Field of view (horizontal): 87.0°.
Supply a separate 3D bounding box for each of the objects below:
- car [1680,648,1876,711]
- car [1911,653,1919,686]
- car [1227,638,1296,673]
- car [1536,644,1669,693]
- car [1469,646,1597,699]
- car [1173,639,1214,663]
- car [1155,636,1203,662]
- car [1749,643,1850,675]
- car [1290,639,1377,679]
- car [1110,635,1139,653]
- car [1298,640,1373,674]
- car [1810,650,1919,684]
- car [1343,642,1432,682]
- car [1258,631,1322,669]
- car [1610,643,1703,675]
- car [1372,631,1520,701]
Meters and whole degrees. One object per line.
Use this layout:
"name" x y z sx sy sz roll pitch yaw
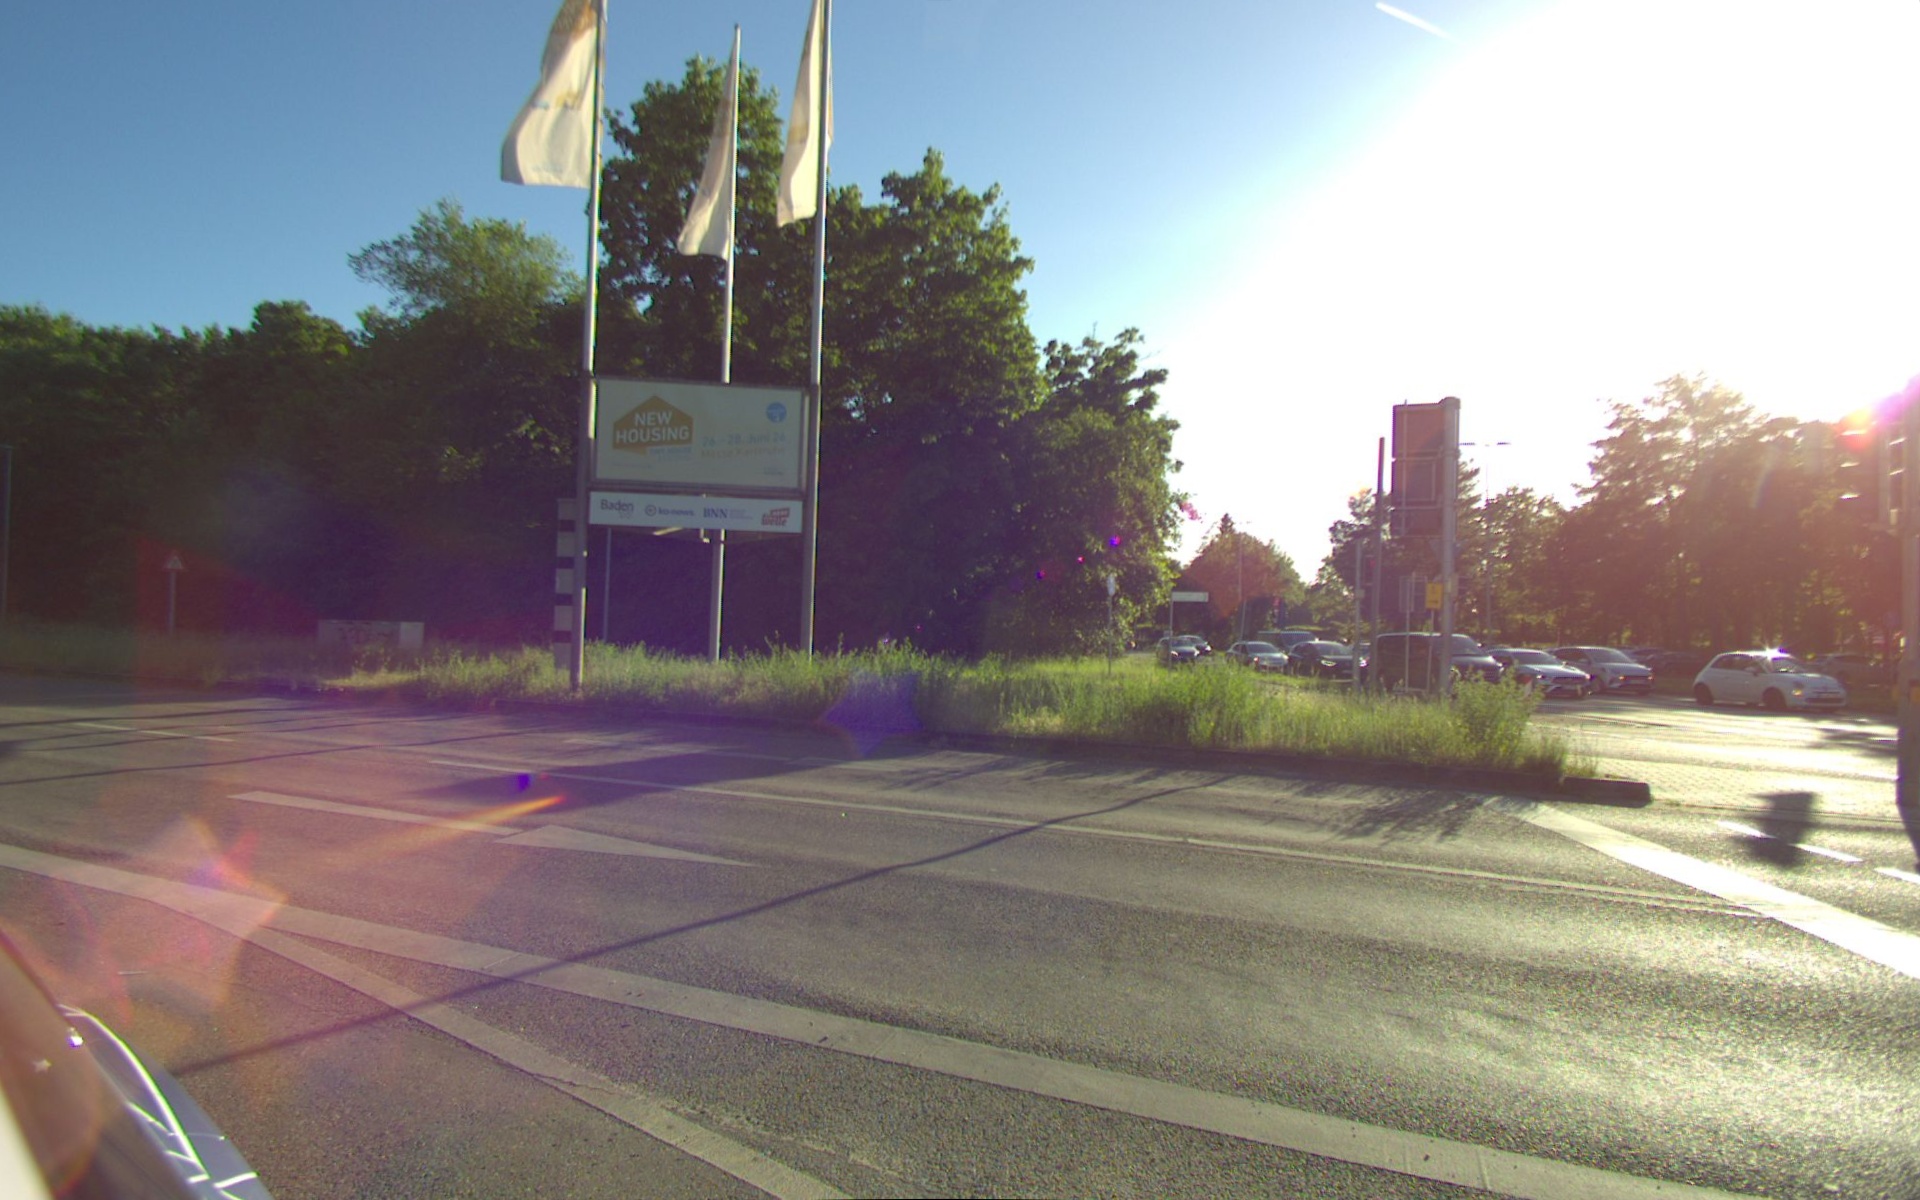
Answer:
"car" 21.100 2.015 26.324 1.900 1.400 3.801 2 -2 -2
"car" 47.816 3.370 48.116 3.454 1.612 1.813 1 -2 1
"car" 13.400 2.435 45.183 1.827 1.400 3.801 2 -2 -2
"car" 20.959 2.203 33.198 1.827 1.400 3.801 2 -2 -2
"car" 17.449 2.177 31.008 1.624 1.400 3.801 2 -2 -2
"car" 17.844 3.893 77.476 1.746 1.689 4.006 2 -2 -7
"car" 12.919 2.868 59.932 1.827 1.400 3.801 2 -2 -2
"car" 46.784 3.256 56.495 3.929 1.612 1.808 1 -2 11
"car" 14.358 2.238 39.107 1.827 1.400 3.801 2 -2 -2
"car" 16.158 4.296 99.723 1.746 1.689 4.006 2 -2 -7
"car" 16.982 2.552 45.944 1.827 1.400 3.801 2 -2 -2
"car" 47.468 3.479 53.045 4.106 1.612 1.808 1 -2 11
"car" 17.018 2.445 40.505 1.827 1.400 3.801 2 -2 -2
"car" 16.610 2.499 51.108 1.827 1.772 3.801 2 -2 -2
"car" 40.224 3.396 58.530 3.952 1.631 1.938 1 -2 8
"car" 14.422 1.900 30.413 1.900 1.844 4.936 2 -2 -2
